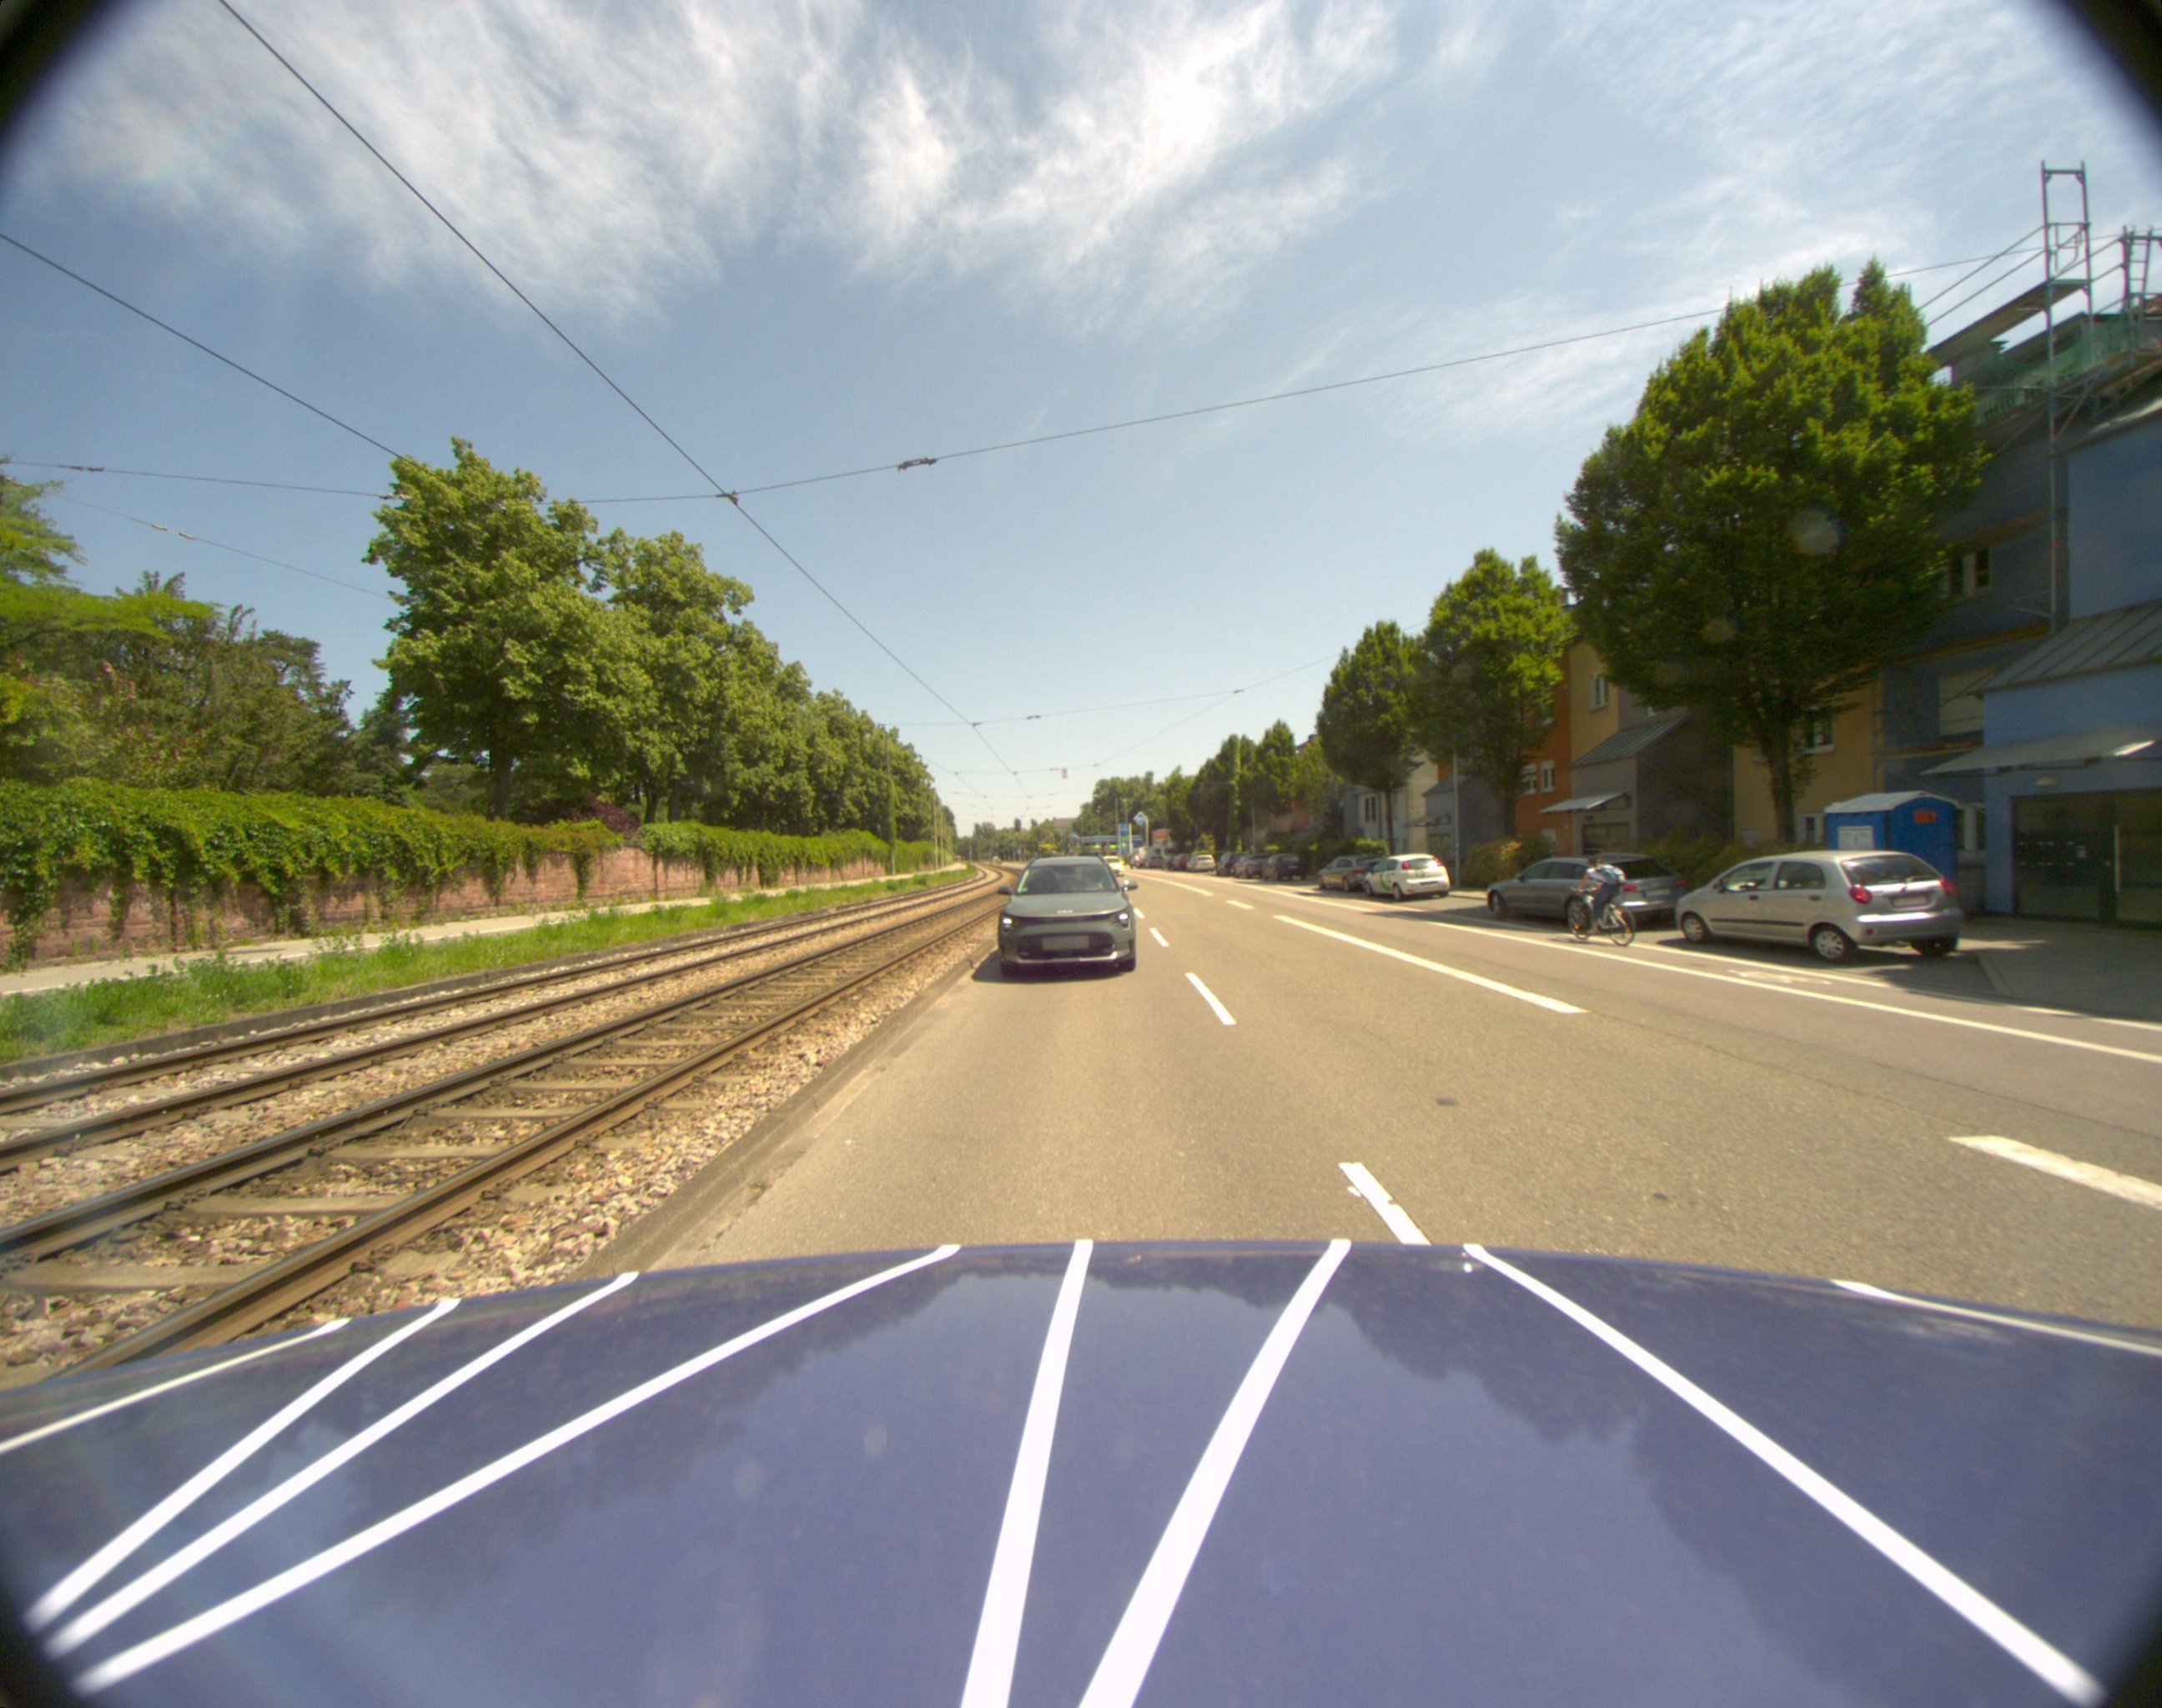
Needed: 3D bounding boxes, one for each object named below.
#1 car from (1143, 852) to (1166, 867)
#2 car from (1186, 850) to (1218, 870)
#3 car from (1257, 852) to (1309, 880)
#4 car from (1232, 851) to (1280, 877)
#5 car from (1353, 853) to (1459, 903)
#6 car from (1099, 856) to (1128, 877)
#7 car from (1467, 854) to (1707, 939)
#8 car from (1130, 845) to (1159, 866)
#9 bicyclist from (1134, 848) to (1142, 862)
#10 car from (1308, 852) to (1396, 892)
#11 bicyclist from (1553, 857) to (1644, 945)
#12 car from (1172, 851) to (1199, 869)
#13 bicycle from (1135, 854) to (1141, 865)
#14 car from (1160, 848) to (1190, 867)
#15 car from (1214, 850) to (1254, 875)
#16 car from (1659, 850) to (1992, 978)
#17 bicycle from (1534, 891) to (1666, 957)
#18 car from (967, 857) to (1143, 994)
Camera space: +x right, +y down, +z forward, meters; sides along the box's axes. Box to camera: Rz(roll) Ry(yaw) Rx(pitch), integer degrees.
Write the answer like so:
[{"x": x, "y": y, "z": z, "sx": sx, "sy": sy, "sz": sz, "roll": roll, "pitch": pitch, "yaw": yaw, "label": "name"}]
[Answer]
[{"x": 8.273, "y": 0.602, "z": 85.774, "sx": 1.870, "sy": 1.528, "sz": 4.142, "roll": -3, "pitch": 0, "yaw": -4, "label": "car"}, {"x": 10.412, "y": 0.531, "z": 65.742, "sx": 1.845, "sy": 1.573, "sz": 4.495, "roll": -3, "pitch": 0, "yaw": -2, "label": "car"}, {"x": 11.456, "y": 0.633, "z": 43.309, "sx": 1.754, "sy": 1.424, "sz": 4.257, "roll": -4, "pitch": 0, "yaw": 0, "label": "car"}, {"x": 11.132, "y": 0.626, "z": 48.599, "sx": 1.830, "sy": 1.487, "sz": 4.756, "roll": -3, "pitch": 0, "yaw": -1, "label": "car"}, {"x": 11.311, "y": 0.784, "z": 26.801, "sx": 1.750, "sy": 1.434, "sz": 4.420, "roll": -6, "pitch": 0, "yaw": 0, "label": "car"}, {"x": 2.261, "y": 0.854, "z": 53.725, "sx": 1.695, "sy": 1.403, "sz": 3.514, "roll": -3, "pitch": 0, "yaw": -3, "label": "car"}, {"x": 10.884, "y": 0.821, "z": 16.941, "sx": 1.791, "sy": 1.441, "sz": 5.133, "roll": -5, "pitch": 0, "yaw": 0, "label": "car"}, {"x": 7.649, "y": 0.198, "z": 91.777, "sx": 2.285, "sy": 2.294, "sz": 5.226, "roll": -3, "pitch": 0, "yaw": -8, "label": "car"}, {"x": 6.210, "y": 0.149, "z": 82.636, "sx": 0.737, "sy": 1.496, "sz": 0.737, "roll": 0, "pitch": 2, "yaw": 1, "label": "bicyclist"}, {"x": 11.351, "y": 0.718, "z": 32.152, "sx": 1.708, "sy": 1.421, "sz": 4.750, "roll": -6, "pitch": 0, "yaw": -3, "label": "car"}, {"x": 8.926, "y": 0.787, "z": 13.152, "sx": 0.737, "sy": 1.422, "sz": 1.124, "roll": 2, "pitch": 1, "yaw": -2, "label": "bicyclist"}, {"x": 9.810, "y": 0.551, "z": 71.634, "sx": 1.604, "sy": 1.584, "sz": 3.680, "roll": -3, "pitch": 0, "yaw": -6, "label": "car"}, {"x": 6.198, "y": 0.602, "z": 82.682, "sx": 0.641, "sy": 1.089, "sz": 1.638, "roll": 1, "pitch": 1, "yaw": 1, "label": "bicycle"}, {"x": 9.485, "y": 0.368, "z": 76.842, "sx": 1.999, "sy": 1.783, "sz": 4.556, "roll": -2, "pitch": 0, "yaw": -5, "label": "car"}, {"x": 10.880, "y": 0.584, "z": 54.420, "sx": 1.772, "sy": 1.579, "sz": 4.147, "roll": -3, "pitch": 0, "yaw": -3, "label": "car"}, {"x": 10.943, "y": 0.774, "z": 11.553, "sx": 1.597, "sy": 1.487, "sz": 3.448, "roll": -6, "pitch": 0, "yaw": 1, "label": "car"}, {"x": 8.901, "y": 1.161, "z": 13.174, "sx": 0.703, "sy": 0.945, "sz": 2.243, "roll": 1, "pitch": 0, "yaw": -2, "label": "bicycle"}, {"x": -0.207, "y": 0.893, "z": 11.275, "sx": 2.062, "sy": 1.534, "sz": 4.001, "roll": -4, "pitch": 0, "yaw": 3, "label": "car"}]
